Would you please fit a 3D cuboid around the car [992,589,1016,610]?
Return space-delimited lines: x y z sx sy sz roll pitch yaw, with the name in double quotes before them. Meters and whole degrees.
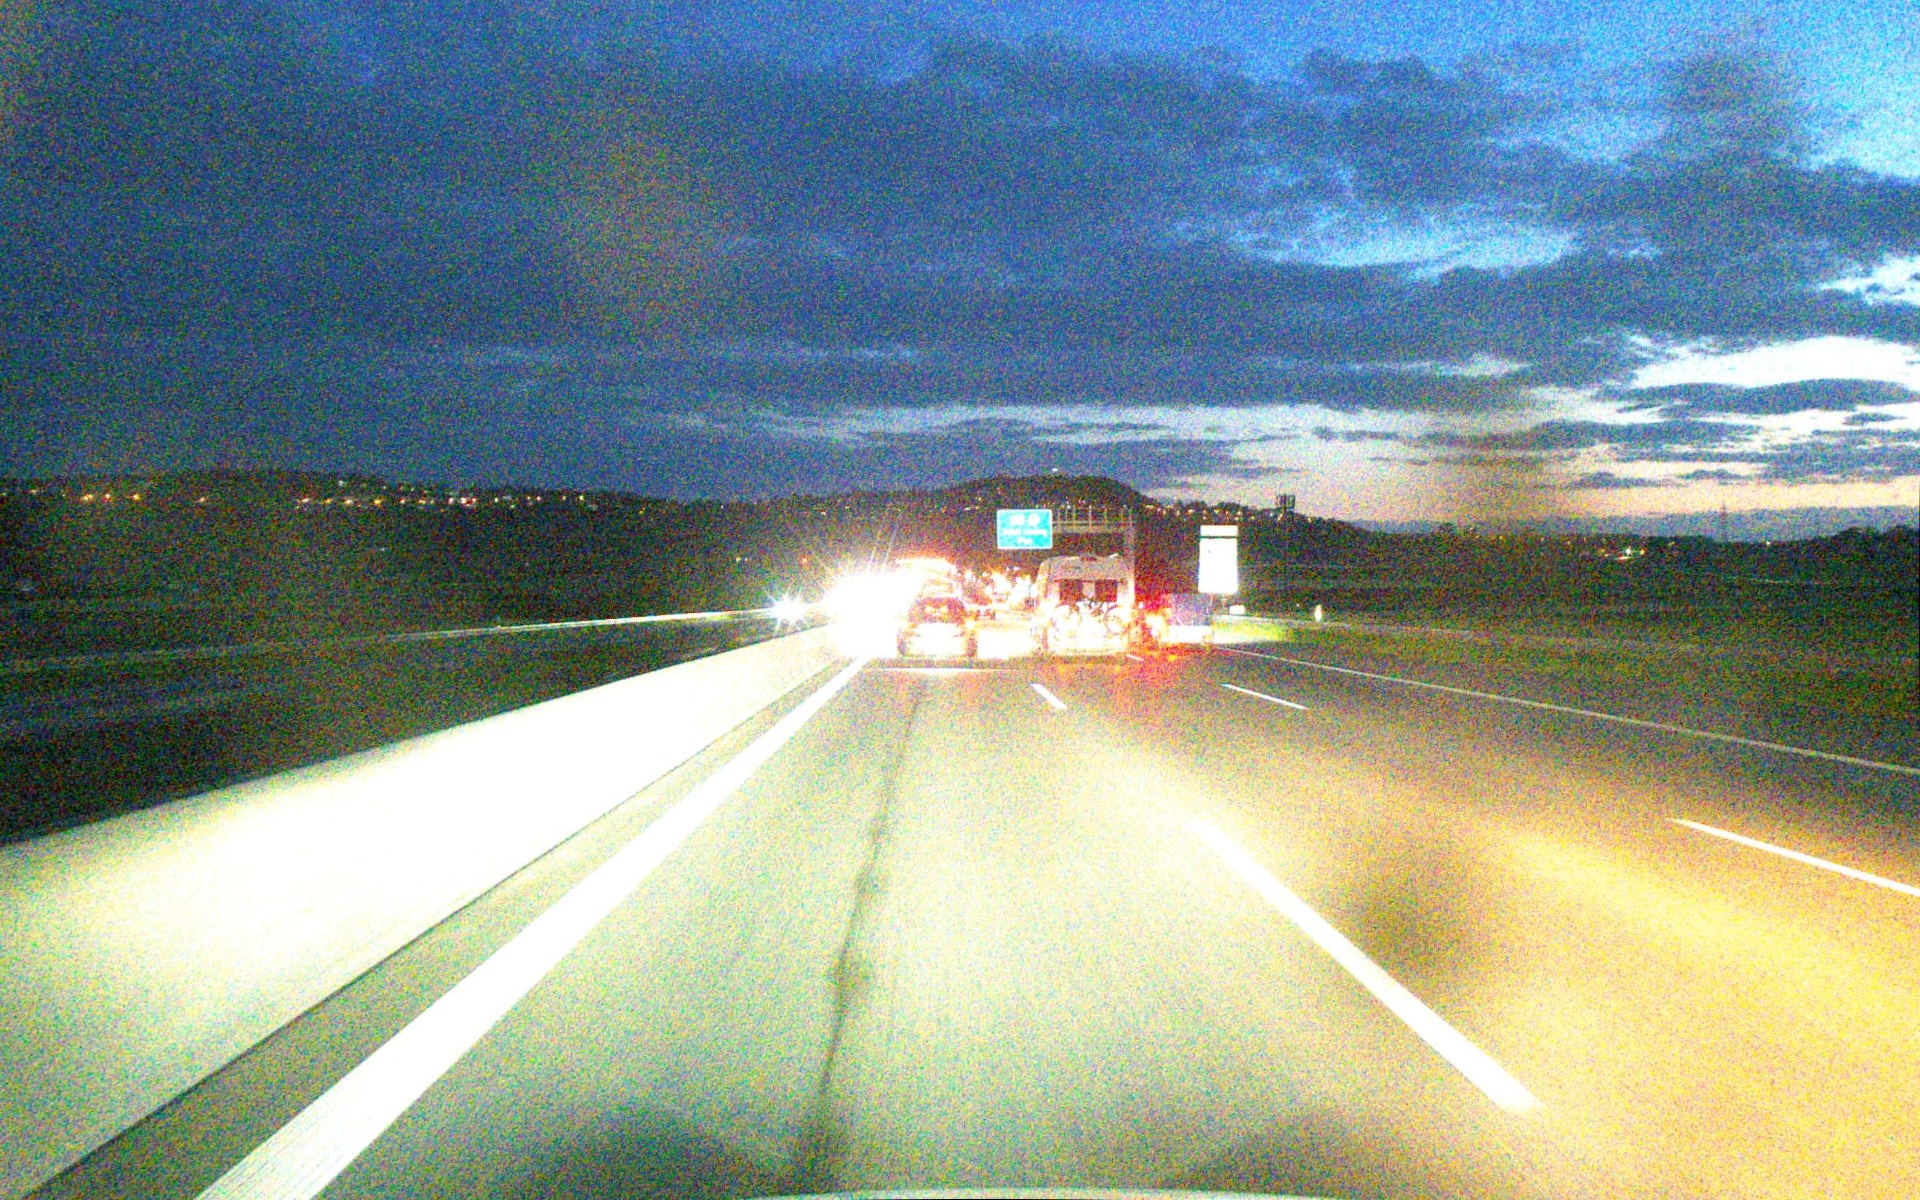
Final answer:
"car" 4.612 -0.064 173.356 2.303 2.112 4.722 -1 1 -1

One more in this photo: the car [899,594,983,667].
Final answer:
"car" -0.423 0.640 36.602 1.757 1.494 3.772 0 1 -1

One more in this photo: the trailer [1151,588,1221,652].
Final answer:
"trailer" 6.302 0.528 46.339 1.534 1.723 2.820 -1 0 -1

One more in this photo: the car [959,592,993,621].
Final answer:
"car" 1.103 0.445 117.404 2.303 1.947 4.722 -1 0 -1

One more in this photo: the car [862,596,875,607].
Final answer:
"car" -14.069 0.180 255.286 1.775 1.671 4.157 -1 0 -1

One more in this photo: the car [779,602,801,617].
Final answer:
"car" -18.845 1.075 183.827 1.953 1.504 5.043 -3 0 -2

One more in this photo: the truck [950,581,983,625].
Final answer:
"truck" 0.585 0.257 156.639 2.725 4.024 7.989 -1 0 -2

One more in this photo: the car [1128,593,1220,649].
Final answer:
"car" 6.397 0.587 49.959 2.119 1.591 4.722 0 0 -1

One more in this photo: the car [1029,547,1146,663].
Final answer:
"car" 2.998 0.083 40.142 2.303 2.579 5.700 -1 1 -1
